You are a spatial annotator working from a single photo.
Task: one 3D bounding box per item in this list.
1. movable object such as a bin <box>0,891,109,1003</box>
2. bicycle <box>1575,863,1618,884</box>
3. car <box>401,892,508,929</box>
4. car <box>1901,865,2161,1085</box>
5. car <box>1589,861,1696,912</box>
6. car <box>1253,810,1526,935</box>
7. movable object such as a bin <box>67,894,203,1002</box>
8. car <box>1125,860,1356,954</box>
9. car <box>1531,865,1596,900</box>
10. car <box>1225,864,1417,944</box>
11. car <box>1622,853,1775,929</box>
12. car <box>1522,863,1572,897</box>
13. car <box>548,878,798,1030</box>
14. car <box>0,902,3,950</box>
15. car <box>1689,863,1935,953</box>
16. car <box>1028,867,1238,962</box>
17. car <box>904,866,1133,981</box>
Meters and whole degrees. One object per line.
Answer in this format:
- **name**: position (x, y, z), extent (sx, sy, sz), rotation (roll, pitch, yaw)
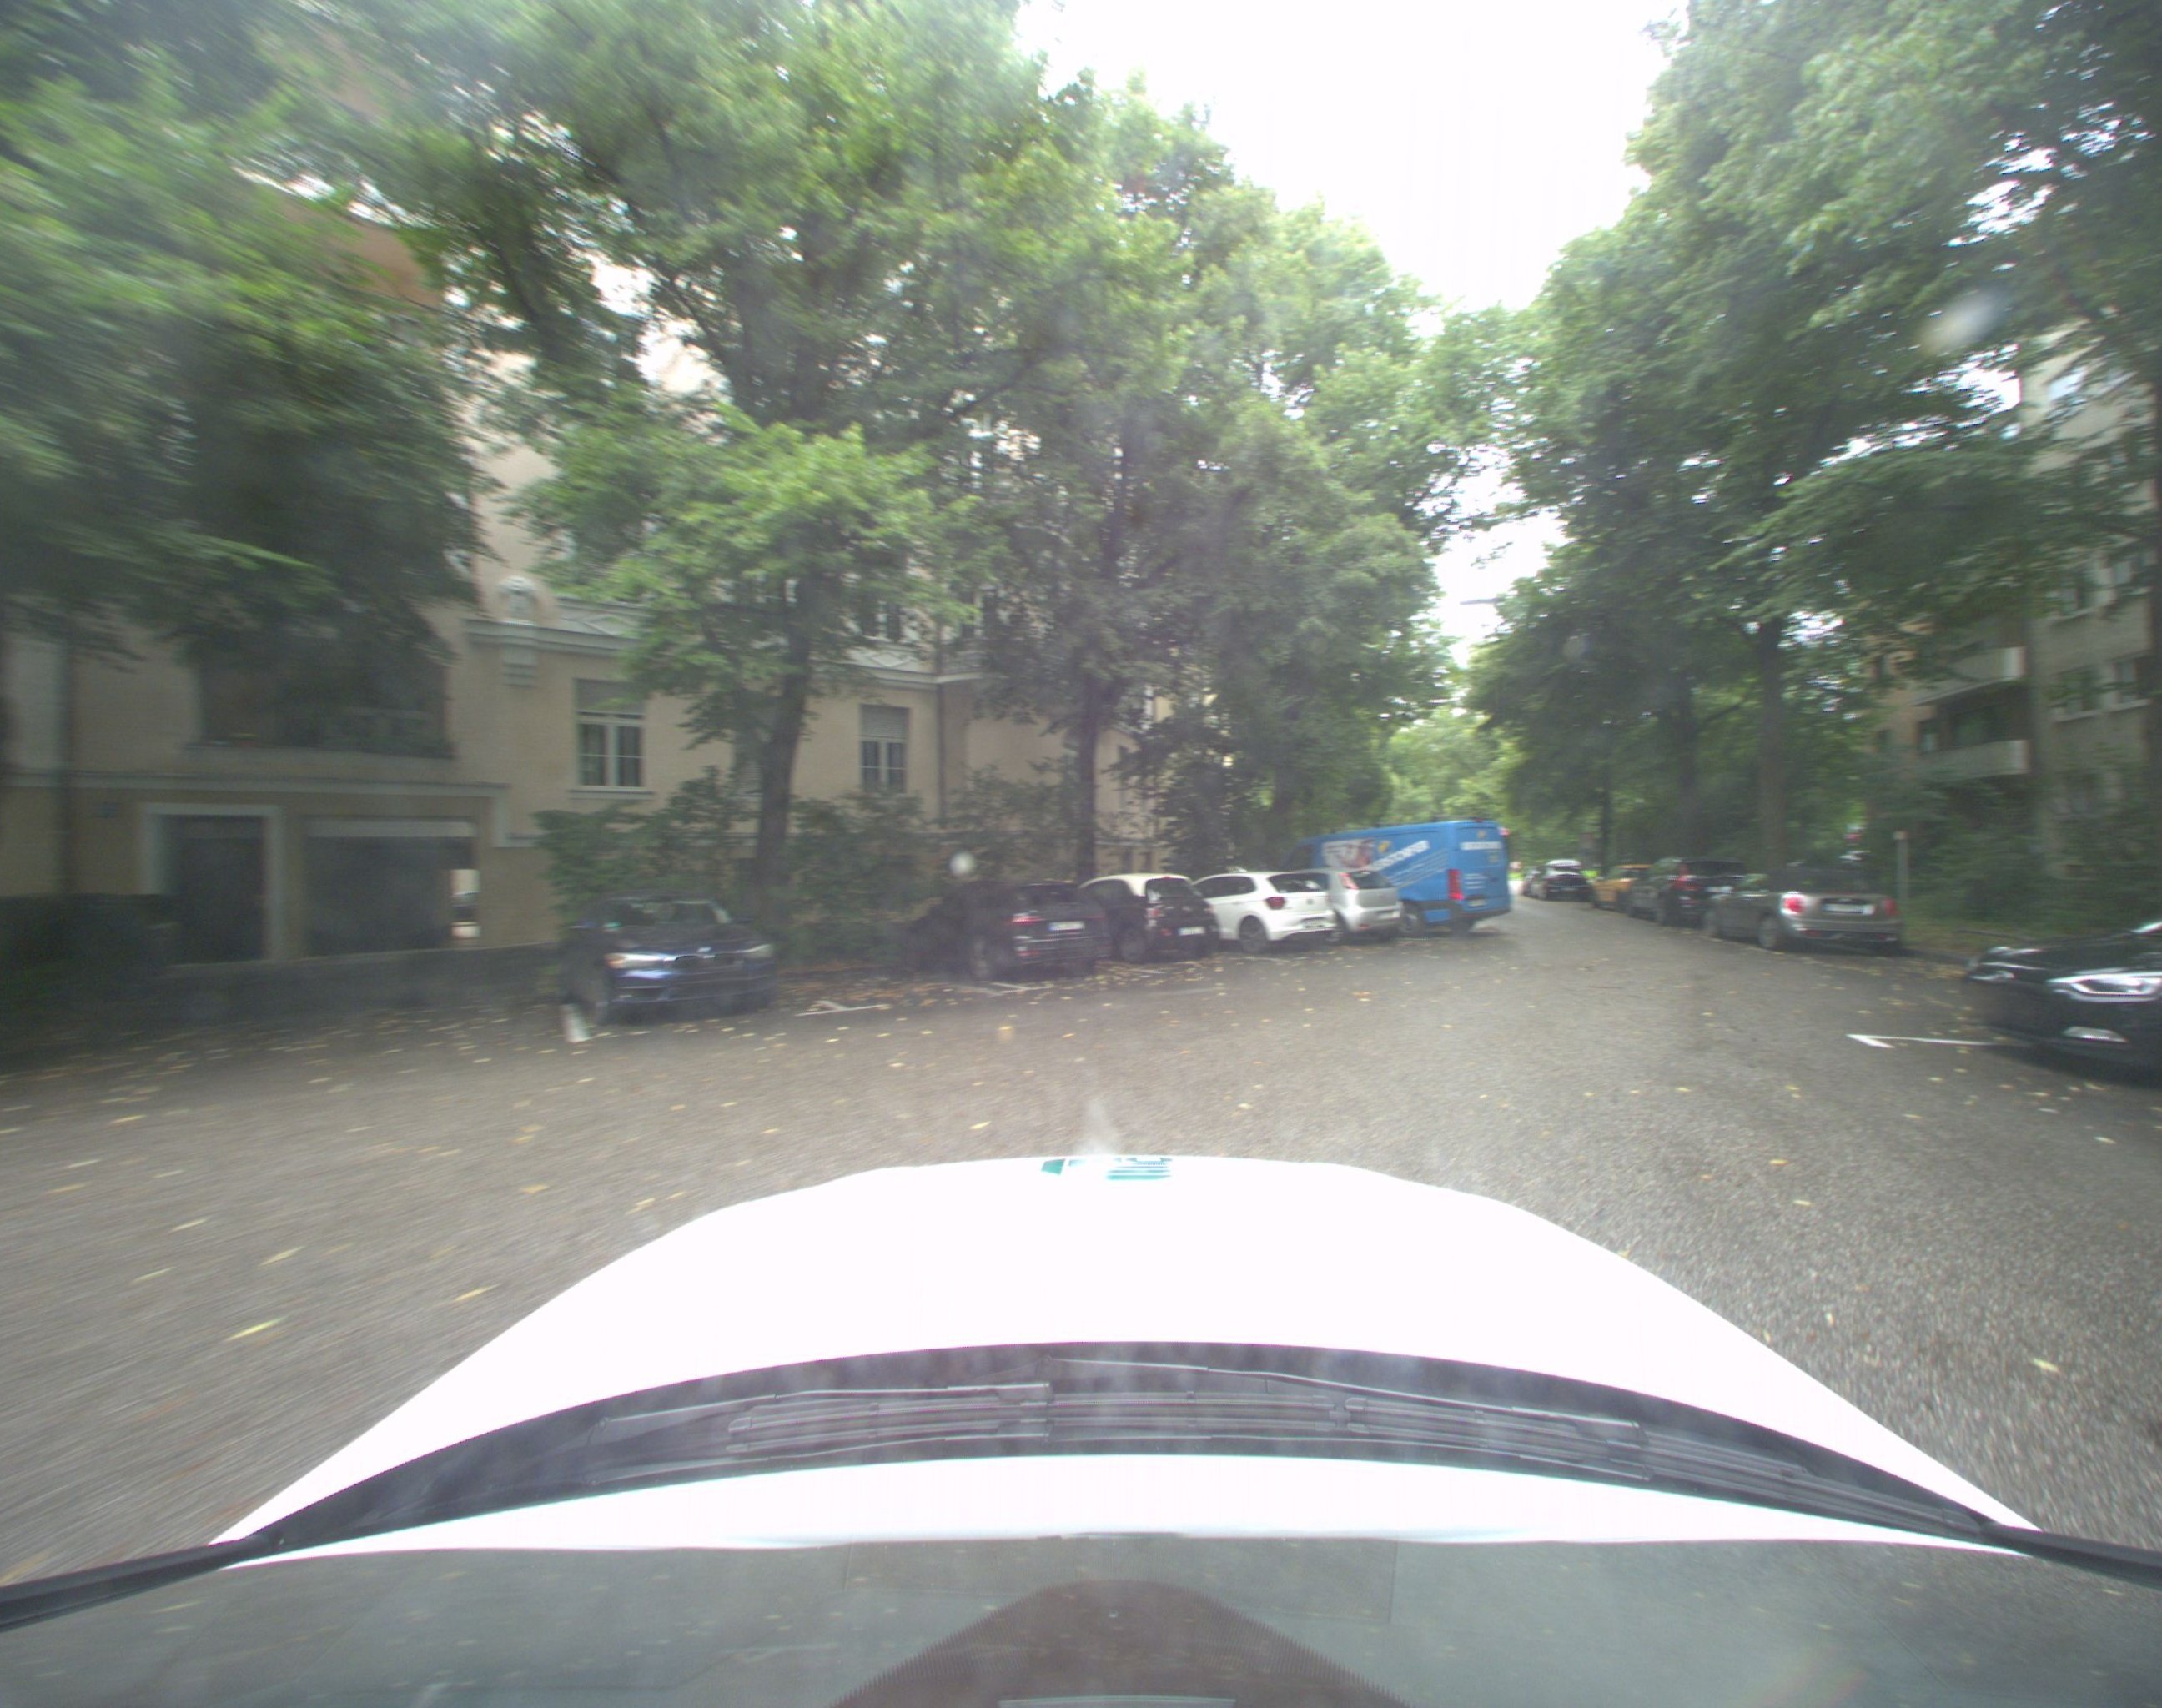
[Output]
- **movable object such as a bin**: position (-13.689, 1.189, 10.783), extent (0.718, 1.348, 1.358), rotation (0, -1, -35)
- **bicycle**: position (25.344, 0.949, 40.076), extent (1.735, 0.982, 0.275), rotation (-2, -2, 30)
- **car**: position (-29.321, 2.590, 38.165), extent (3.877, 1.518, 1.637), rotation (0, -1, -40)
- **car**: position (8.904, 0.773, 5.757), extent (4.054, 1.394, 1.741), rotation (-1, -1, 13)
- **car**: position (16.886, 0.940, 24.690), extent (1.605, 1.412, 3.797), rotation (-1, -1, 18)
- **car**: position (6.574, 0.502, 18.143), extent (2.073, 2.355, 5.437), rotation (0, -4, -33)
- **movable object such as a bin**: position (-12.720, 1.216, 11.012), extent (0.869, 1.305, 1.416), rotation (2, -2, -37)
- **car**: position (2.888, 1.063, 15.686), extent (1.811, 1.513, 4.239), rotation (-1, -5, -34)
- **car**: position (20.099, 1.137, 34.059), extent (1.667, 1.358, 4.029), rotation (0, 0, 21)
- **car**: position (4.786, 0.989, 16.675), extent (1.650, 1.433, 3.517), rotation (0, -3, -33)
- **car**: position (14.953, 0.818, 20.023), extent (1.815, 1.629, 4.549), rotation (-1, -1, 22)
- **car**: position (21.704, 1.182, 38.025), extent (1.633, 1.474, 3.663), rotation (-1, -1, 24)
- **car**: position (-5.174, 1.050, 9.987), extent (1.854, 1.383, 4.292), rotation (-1, -2, -39)
- **car**: position (-10.813, 1.095, 6.204), extent (1.716, 1.467, 4.243), rotation (1, -4, -33)
- **car**: position (13.260, 0.922, 15.183), extent (1.882, 1.413, 4.452), rotation (-3, -2, 21)
- **car**: position (0.792, 1.099, 14.576), extent (1.840, 1.426, 3.710), rotation (-1, -5, -33)
- **car**: position (-1.156, 1.029, 12.711), extent (1.870, 1.425, 4.121), rotation (-1, -3, -31)
